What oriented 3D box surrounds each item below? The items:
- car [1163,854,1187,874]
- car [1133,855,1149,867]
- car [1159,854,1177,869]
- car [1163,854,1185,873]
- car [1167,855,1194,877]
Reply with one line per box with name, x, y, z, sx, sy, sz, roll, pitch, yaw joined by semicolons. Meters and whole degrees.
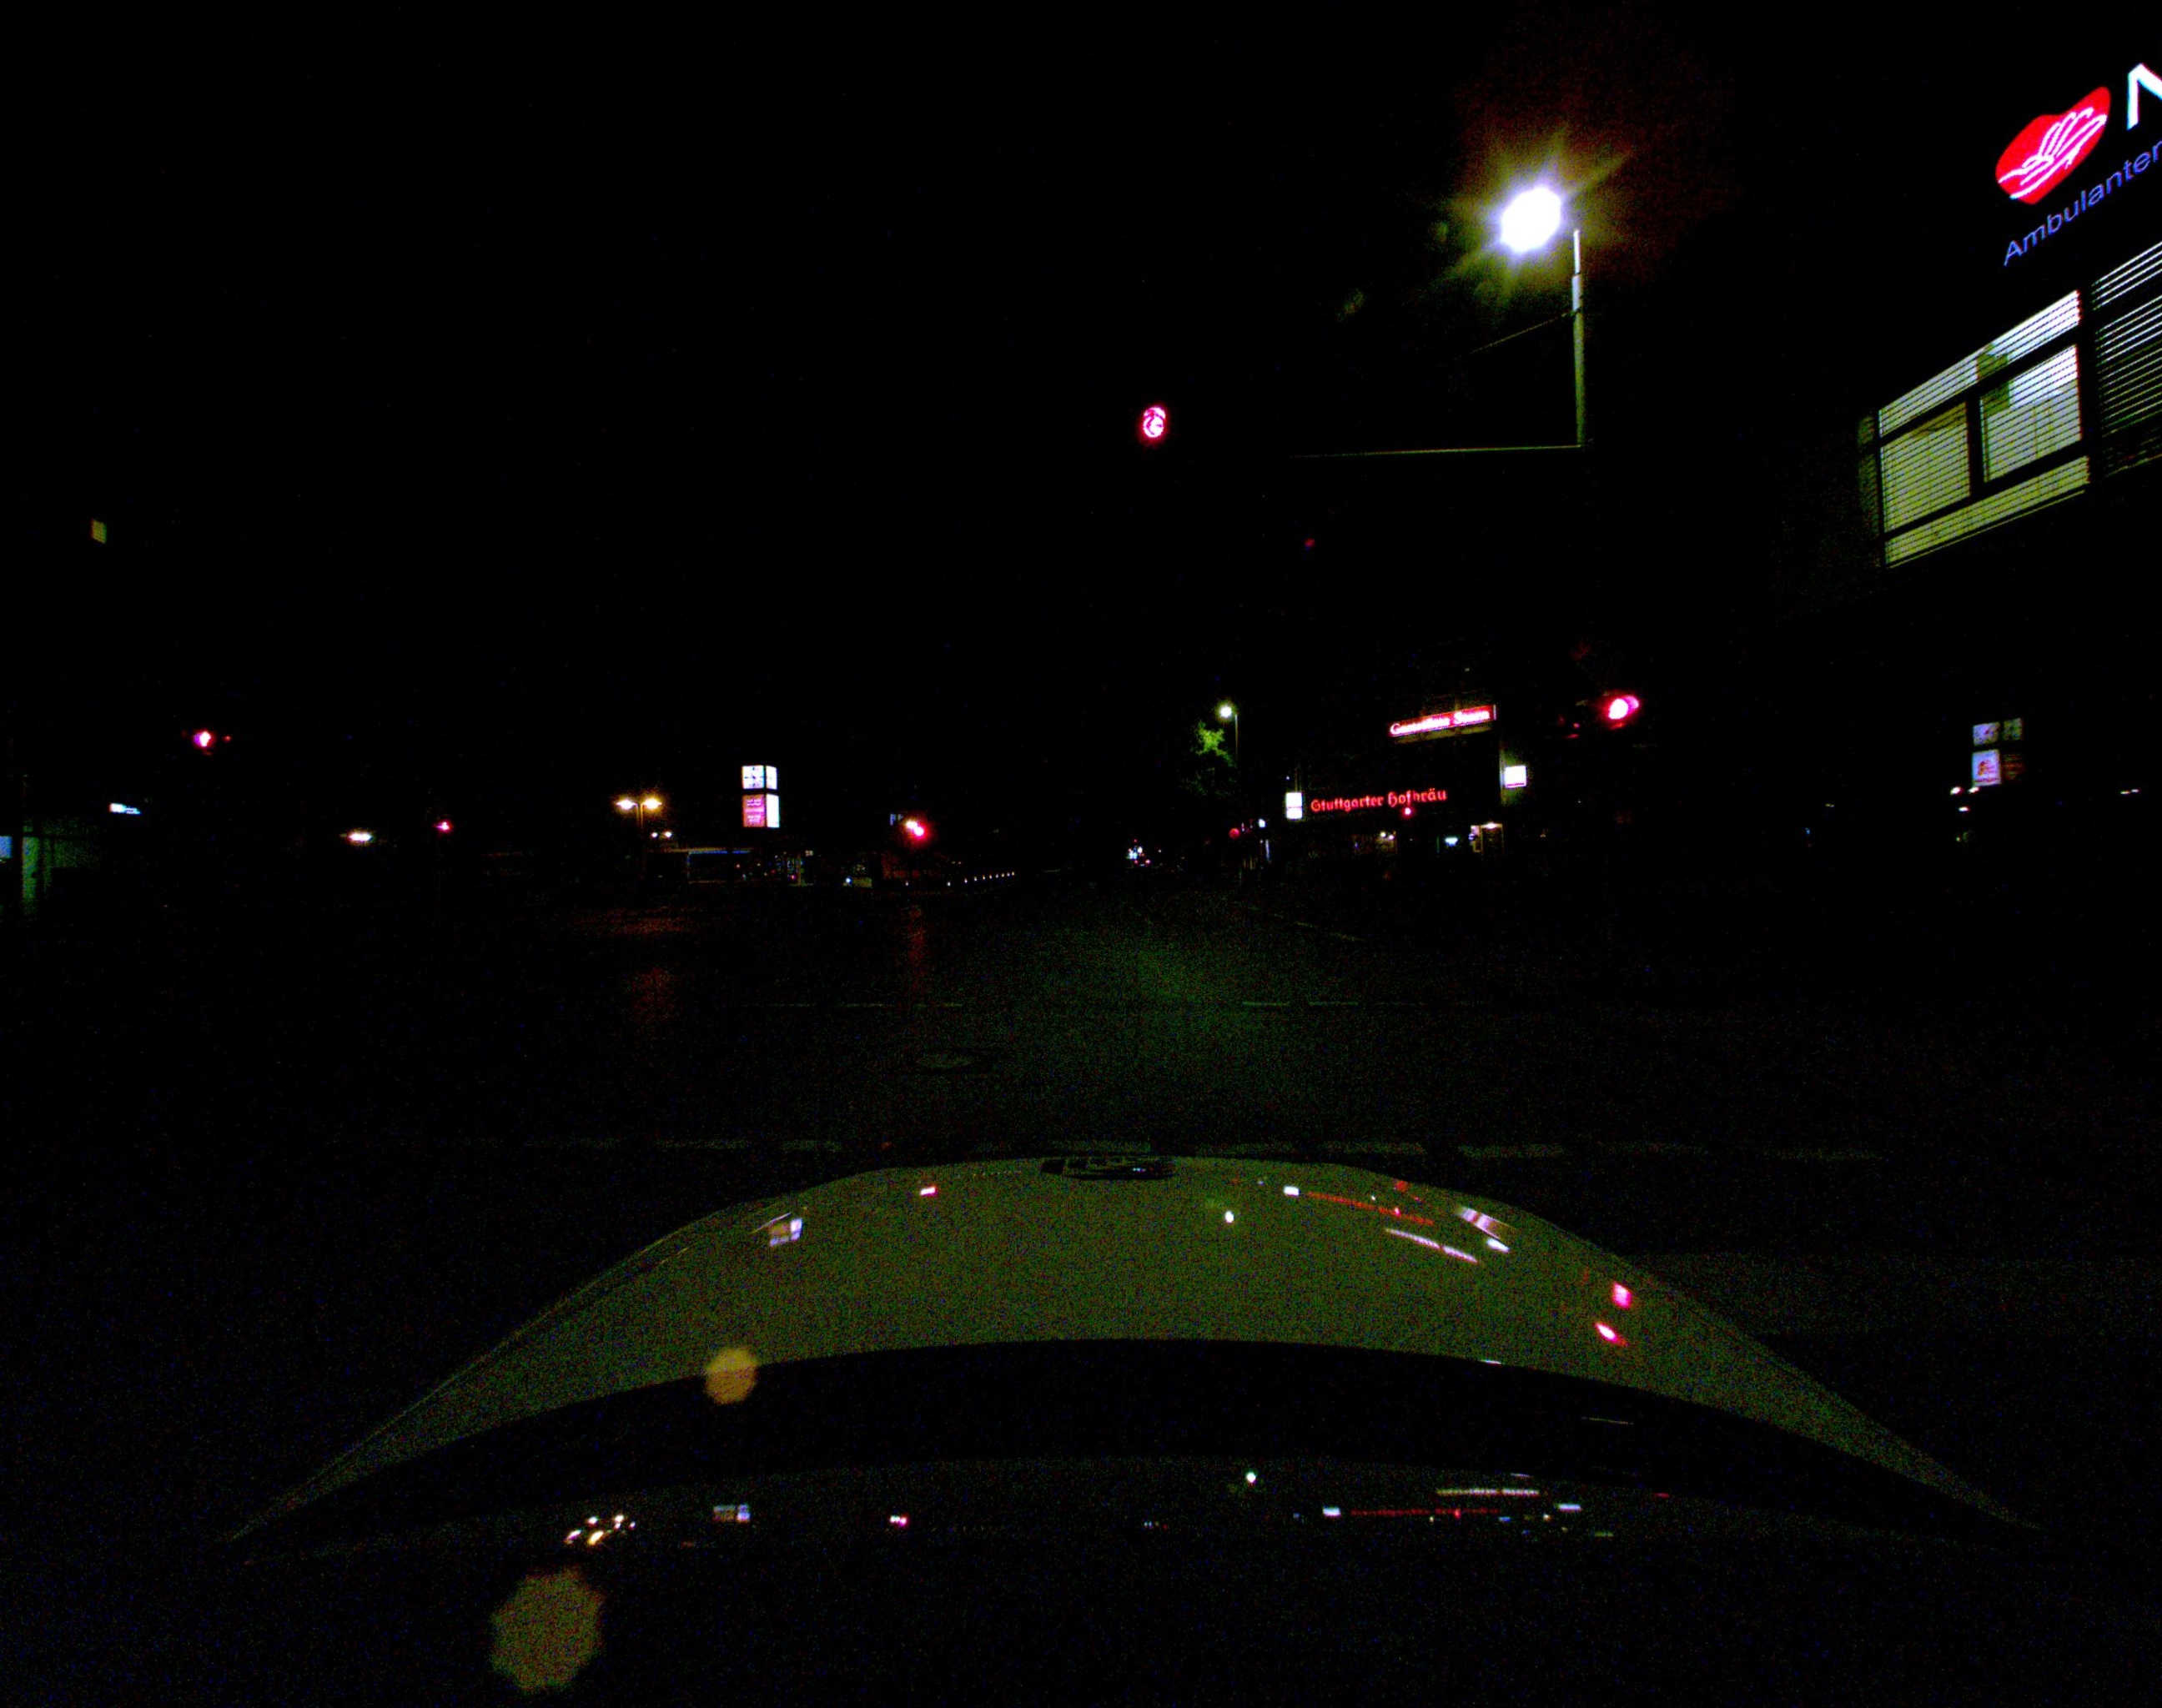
car;7.886;0.831;68.777;1.868;1.615;4.005;-2;-1;5
car;7.147;0.844;96.678;1.865;1.454;4.321;0;0;4
car;10.052;0.884;94.439;1.868;1.683;4.005;-2;-1;5
car;8.681;0.877;76.433;1.868;1.729;4.005;-2;-1;5
car;7.712;0.898;63.551;1.868;1.615;4.005;-2;-1;5
